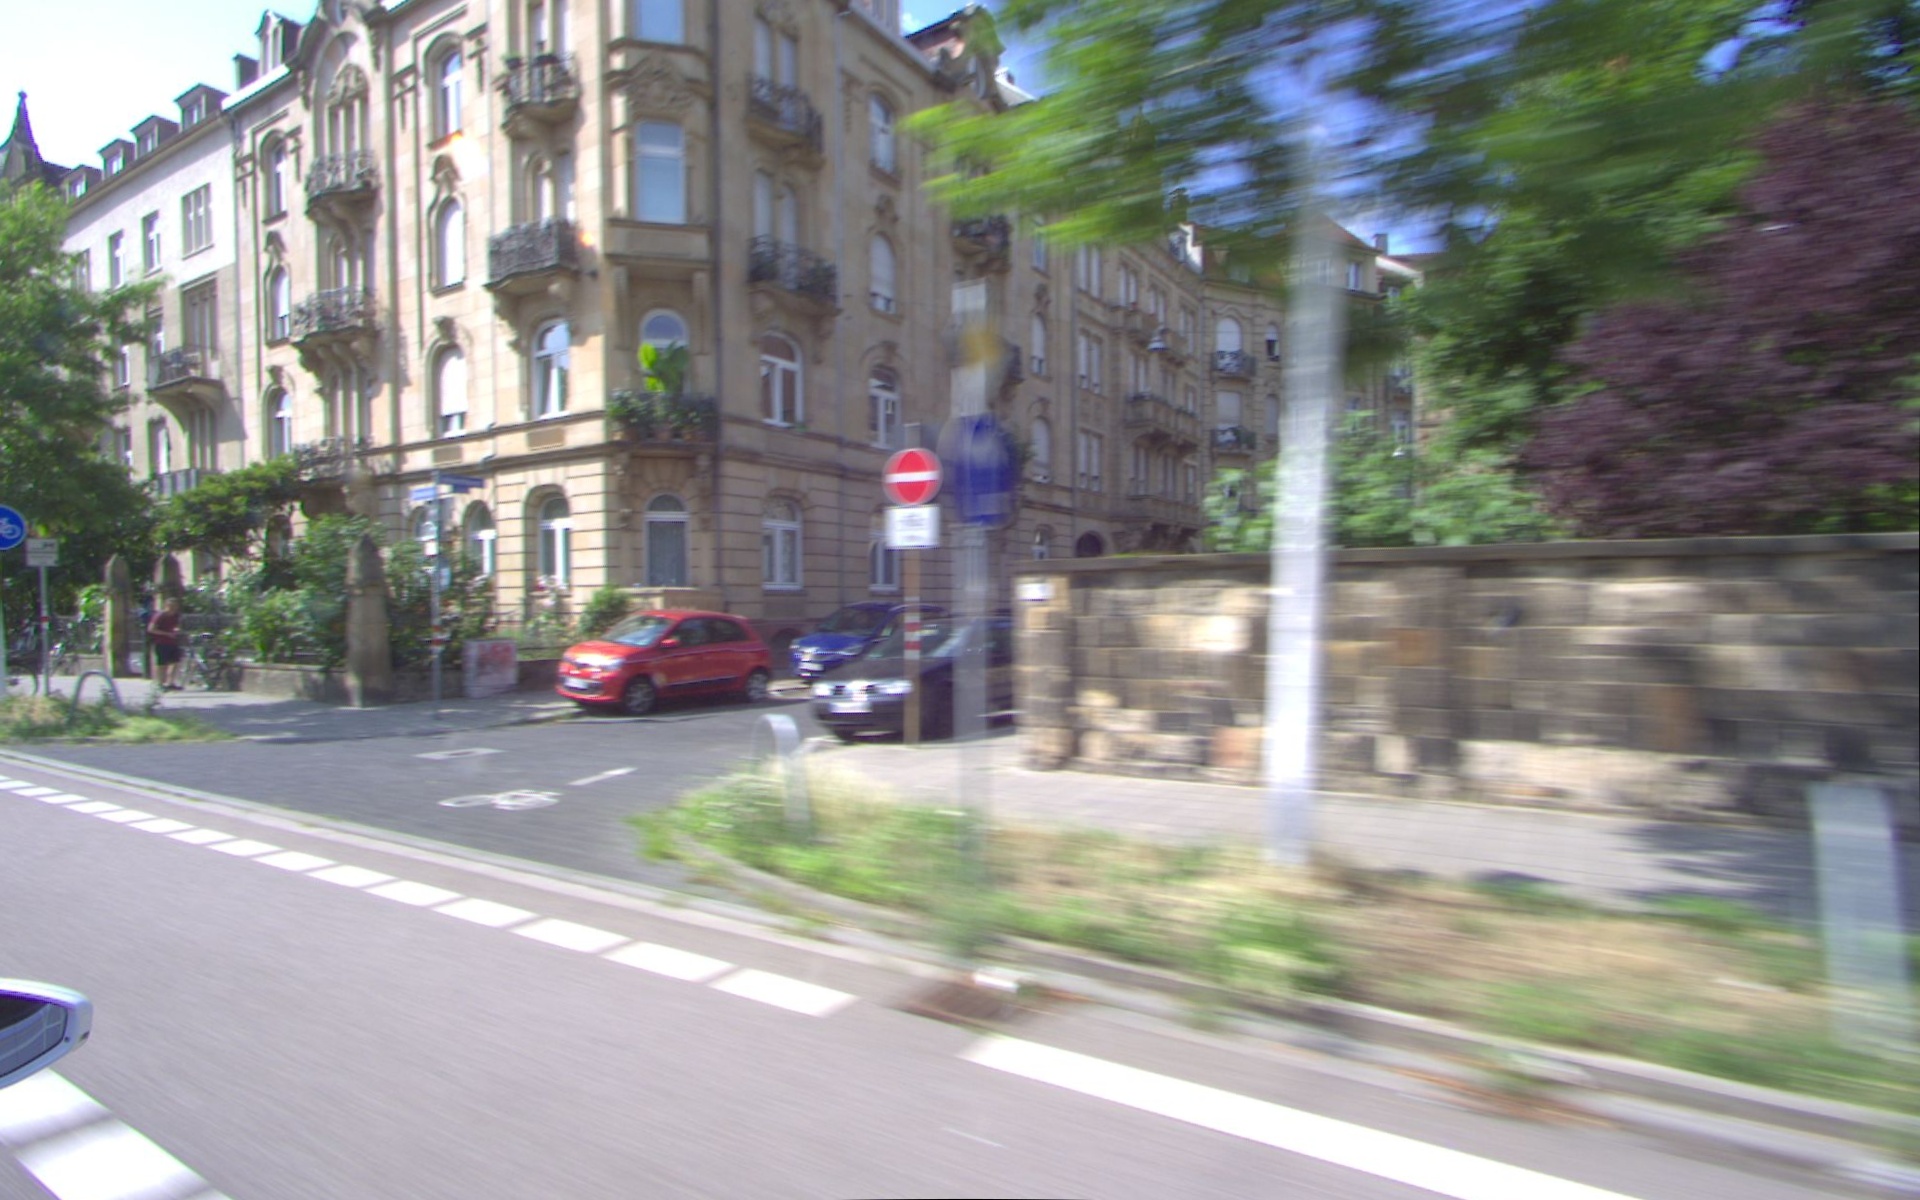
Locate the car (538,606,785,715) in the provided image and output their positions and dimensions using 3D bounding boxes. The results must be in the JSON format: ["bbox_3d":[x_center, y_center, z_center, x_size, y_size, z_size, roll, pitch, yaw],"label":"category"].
[{"bbox_3d":[-4.912,0.914,16.891,1.733,1.576,3.730,1,1,36],"label":"car"}]

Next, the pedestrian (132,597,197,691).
[{"bbox_3d":[-14.340,0.773,18.060,0.714,1.650,0.721,0,1,33],"label":"pedestrian"}]

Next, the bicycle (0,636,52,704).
[{"bbox_3d":[-15.899,1.144,16.213,0.464,1.083,1.705,0,0,27],"label":"bicycle"}]

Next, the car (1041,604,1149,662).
[{"bbox_3d":[4.173,0.953,30.527,1.667,1.565,3.795,0,1,36],"label":"car"}]

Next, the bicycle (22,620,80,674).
[{"bbox_3d":[-20.553,1.040,22.623,1.995,1.155,0.426,0,3,33],"label":"bicycle"}]

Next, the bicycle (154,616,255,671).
[{"bbox_3d":[-16.738,0.936,22.221,0.464,1.084,1.703,0,3,27],"label":"bicycle"}]

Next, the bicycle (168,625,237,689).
[{"bbox_3d":[-13.918,1.023,18.395,1.687,1.123,0.468,0,0,33],"label":"bicycle"}]

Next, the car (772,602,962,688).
[{"bbox_3d":[-1.864,0.878,21.392,1.806,1.638,4.245,0,0,33],"label":"car"}]

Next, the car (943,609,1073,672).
[{"bbox_3d":[1.323,1.003,26.323,1.692,1.468,3.651,0,1,36],"label":"car"}]

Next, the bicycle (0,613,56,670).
[{"bbox_3d":[-22.853,0.976,24.253,2.901,1.266,0.656,0,3,33],"label":"bicycle"}]

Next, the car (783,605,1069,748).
[{"bbox_3d":[-0.256,0.889,13.307,1.732,1.575,4.244,-3,-2,31],"label":"car"}]
